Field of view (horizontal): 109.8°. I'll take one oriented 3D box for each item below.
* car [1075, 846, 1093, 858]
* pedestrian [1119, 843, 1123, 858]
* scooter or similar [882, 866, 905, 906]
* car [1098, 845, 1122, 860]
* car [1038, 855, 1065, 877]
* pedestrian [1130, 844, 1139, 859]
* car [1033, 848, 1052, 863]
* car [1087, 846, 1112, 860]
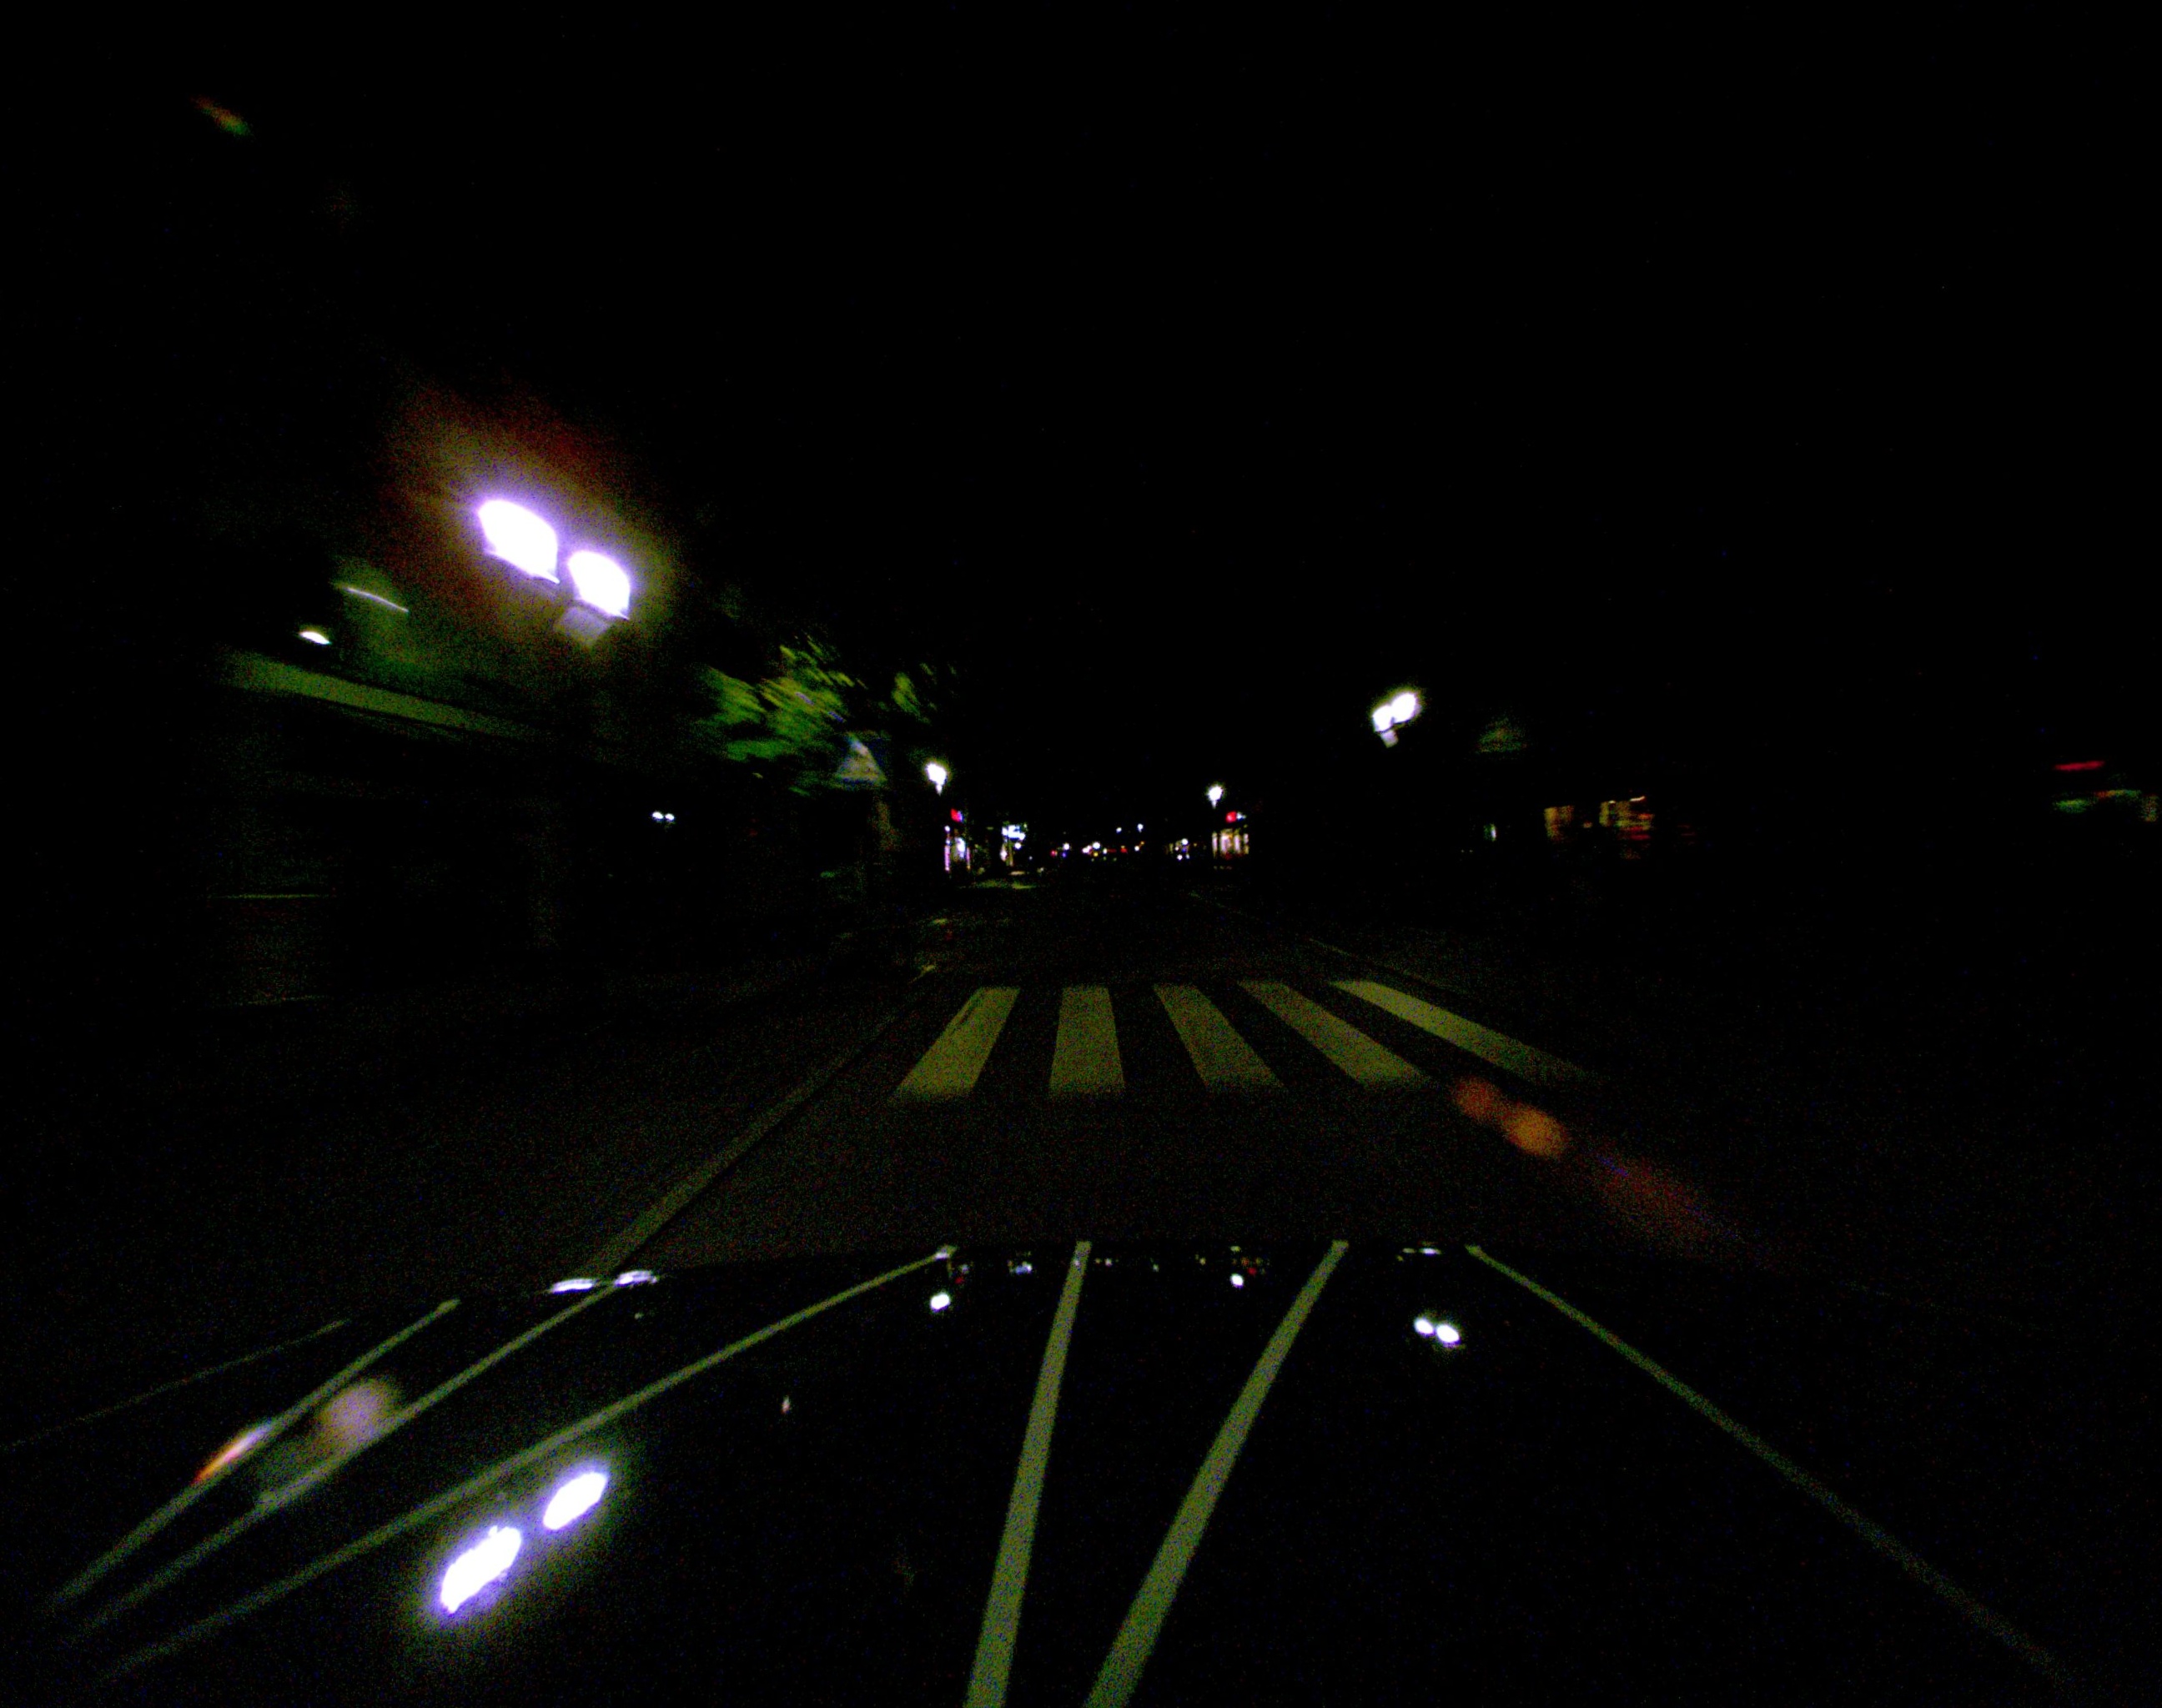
[{"bbox_3d":[0.437,-0.335,105.397,1.776,1.565,4.479,-4,1,-8],"label":"car"},{"bbox_3d":[4.941,-0.384,93.623,0.502,1.812,0.503,-2,2,4],"label":"pedestrian"},{"bbox_3d":[-6.411,1.069,25.990,0.374,1.269,1.305,-2,2,2],"label":"scooter or similar"},{"bbox_3d":[3.346,-0.202,88.644,1.765,1.628,4.810,-2,1,-11],"label":"car"},{"bbox_3d":[-2.184,0.848,54.833,1.739,1.432,4.494,-2,0,-4],"label":"car"},{"bbox_3d":[6.576,-0.321,93.588,0.793,1.807,1.024,-4,2,14],"label":"pedestrian"},{"bbox_3d":[-4.311,0.187,84.508,1.747,1.479,4.632,-2,2,-7],"label":"car"},{"bbox_3d":[2.248,-0.138,94.427,1.911,1.533,4.776,-3,1,-12],"label":"car"}]
